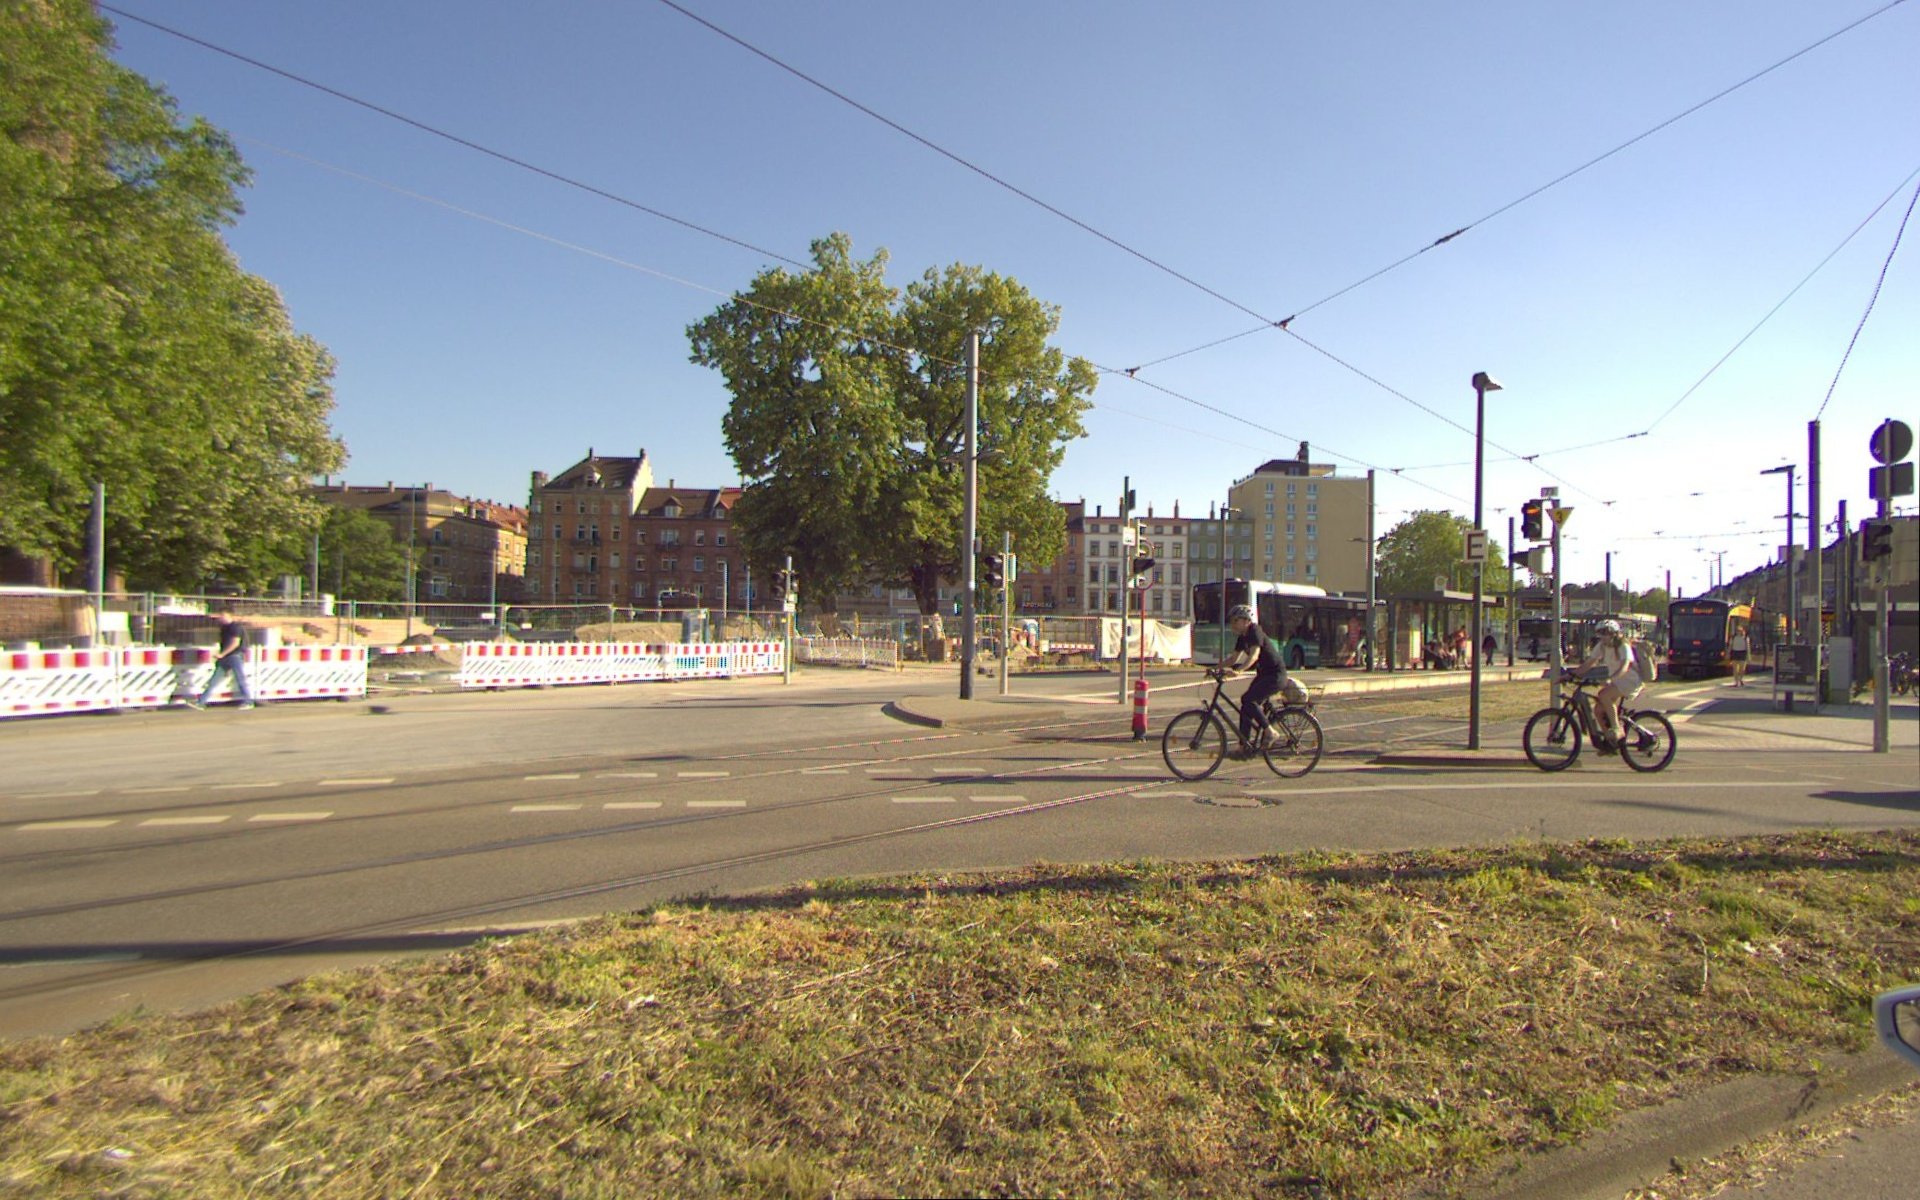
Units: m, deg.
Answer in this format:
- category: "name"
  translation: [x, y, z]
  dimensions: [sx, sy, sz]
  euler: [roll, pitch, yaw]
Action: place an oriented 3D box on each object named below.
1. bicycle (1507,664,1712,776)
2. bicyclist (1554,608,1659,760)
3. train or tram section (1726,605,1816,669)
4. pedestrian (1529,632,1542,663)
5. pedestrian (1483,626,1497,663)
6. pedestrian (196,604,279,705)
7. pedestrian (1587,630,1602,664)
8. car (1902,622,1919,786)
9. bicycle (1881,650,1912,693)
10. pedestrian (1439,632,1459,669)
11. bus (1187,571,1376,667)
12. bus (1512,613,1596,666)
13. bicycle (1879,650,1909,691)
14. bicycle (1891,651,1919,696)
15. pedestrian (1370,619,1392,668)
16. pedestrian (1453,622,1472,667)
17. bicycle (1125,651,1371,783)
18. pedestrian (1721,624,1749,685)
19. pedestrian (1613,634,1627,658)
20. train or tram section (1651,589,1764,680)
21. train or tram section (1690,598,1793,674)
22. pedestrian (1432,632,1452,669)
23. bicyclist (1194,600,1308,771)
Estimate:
- category: "bicycle"
  translation: [7.419, 1.351, 11.490]
  dimensions: [2.146, 1.196, 0.675]
  euler: [1, -2, -13]
- category: "bicyclist"
  translation: [7.384, 0.943, 11.498]
  dimensions: [0.730, 1.679, 0.709]
  euler: [1, -2, -13]
- category: "train or tram section"
  translation: [51.239, 2.334, 63.288]
  dimensions: [11.973, 3.644, 3.009]
  euler: [3, 0, -45]
- category: "pedestrian"
  translation: [33.126, 2.733, 57.795]
  dimensions: [0.563, 1.772, 0.638]
  euler: [0, -2, 36]
- category: "pedestrian"
  translation: [25.728, 2.148, 48.770]
  dimensions: [0.628, 1.772, 0.571]
  euler: [0, -2, 28]
- category: "pedestrian"
  translation: [-12.728, 0.970, 17.710]
  dimensions: [0.698, 1.719, 0.900]
  euler: [0, -4, 28]
- category: "pedestrian"
  translation: [33.295, 2.445, 52.704]
  dimensions: [0.628, 1.772, 0.571]
  euler: [0, -2, 28]
- category: "car"
  translation: [11.374, 1.032, 9.470]
  dimensions: [3.856, 1.594, 1.739]
  euler: [2, -4, -13]
- category: "bicycle"
  translation: [26.453, 2.014, 28.389]
  dimensions: [0.600, 1.129, 1.886]
  euler: [2, 0, 42]
- category: "pedestrian"
  translation: [18.486, 1.907, 37.987]
  dimensions: [0.563, 1.363, 0.637]
  euler: [0, -2, 38]
- category: "bus"
  translation: [12.306, 0.762, 37.730]
  dimensions: [2.626, 3.177, 9.583]
  euler: [2, 0, 45]
- category: "bus"
  translation: [41.325, 2.710, 69.581]
  dimensions: [2.689, 3.317, 13.401]
  euler: [2, 0, 40]
- category: "bicycle"
  translation: [27.764, 2.075, 29.849]
  dimensions: [0.600, 1.129, 1.885]
  euler: [2, 0, 44]
- category: "bicycle"
  translation: [25.617, 1.962, 26.797]
  dimensions: [1.874, 1.129, 0.604]
  euler: [2, 0, -30]
- category: "pedestrian"
  translation: [15.457, 1.595, 36.873]
  dimensions: [0.555, 1.772, 0.533]
  euler: [2, -2, -40]
- category: "pedestrian"
  translation: [19.739, 1.745, 39.432]
  dimensions: [0.563, 1.772, 0.637]
  euler: [0, -2, 38]
- category: "bicycle"
  translation: [2.956, 1.182, 10.337]
  dimensions: [2.415, 1.266, 0.675]
  euler: [1, -4, -13]
- category: "pedestrian"
  translation: [22.577, 1.579, 29.278]
  dimensions: [0.629, 1.772, 0.570]
  euler: [0, -2, 36]
- category: "pedestrian"
  translation: [49.030, 3.415, 74.657]
  dimensions: [0.635, 1.772, 0.727]
  euler: [2, -2, -42]
- category: "train or tram section"
  translation: [34.406, 1.559, 45.966]
  dimensions: [2.849, 3.644, 12.132]
  euler: [2, 0, 43]
- category: "train or tram section"
  translation: [42.772, 1.952, 54.758]
  dimensions: [2.981, 3.644, 12.124]
  euler: [2, 0, 44]
- category: "pedestrian"
  translation: [17.999, 1.897, 37.485]
  dimensions: [0.608, 1.358, 0.439]
  euler: [0, -2, 38]
- category: "bicyclist"
  translation: [2.990, 0.874, 10.363]
  dimensions: [0.885, 1.678, 0.709]
  euler: [1, -4, -13]
